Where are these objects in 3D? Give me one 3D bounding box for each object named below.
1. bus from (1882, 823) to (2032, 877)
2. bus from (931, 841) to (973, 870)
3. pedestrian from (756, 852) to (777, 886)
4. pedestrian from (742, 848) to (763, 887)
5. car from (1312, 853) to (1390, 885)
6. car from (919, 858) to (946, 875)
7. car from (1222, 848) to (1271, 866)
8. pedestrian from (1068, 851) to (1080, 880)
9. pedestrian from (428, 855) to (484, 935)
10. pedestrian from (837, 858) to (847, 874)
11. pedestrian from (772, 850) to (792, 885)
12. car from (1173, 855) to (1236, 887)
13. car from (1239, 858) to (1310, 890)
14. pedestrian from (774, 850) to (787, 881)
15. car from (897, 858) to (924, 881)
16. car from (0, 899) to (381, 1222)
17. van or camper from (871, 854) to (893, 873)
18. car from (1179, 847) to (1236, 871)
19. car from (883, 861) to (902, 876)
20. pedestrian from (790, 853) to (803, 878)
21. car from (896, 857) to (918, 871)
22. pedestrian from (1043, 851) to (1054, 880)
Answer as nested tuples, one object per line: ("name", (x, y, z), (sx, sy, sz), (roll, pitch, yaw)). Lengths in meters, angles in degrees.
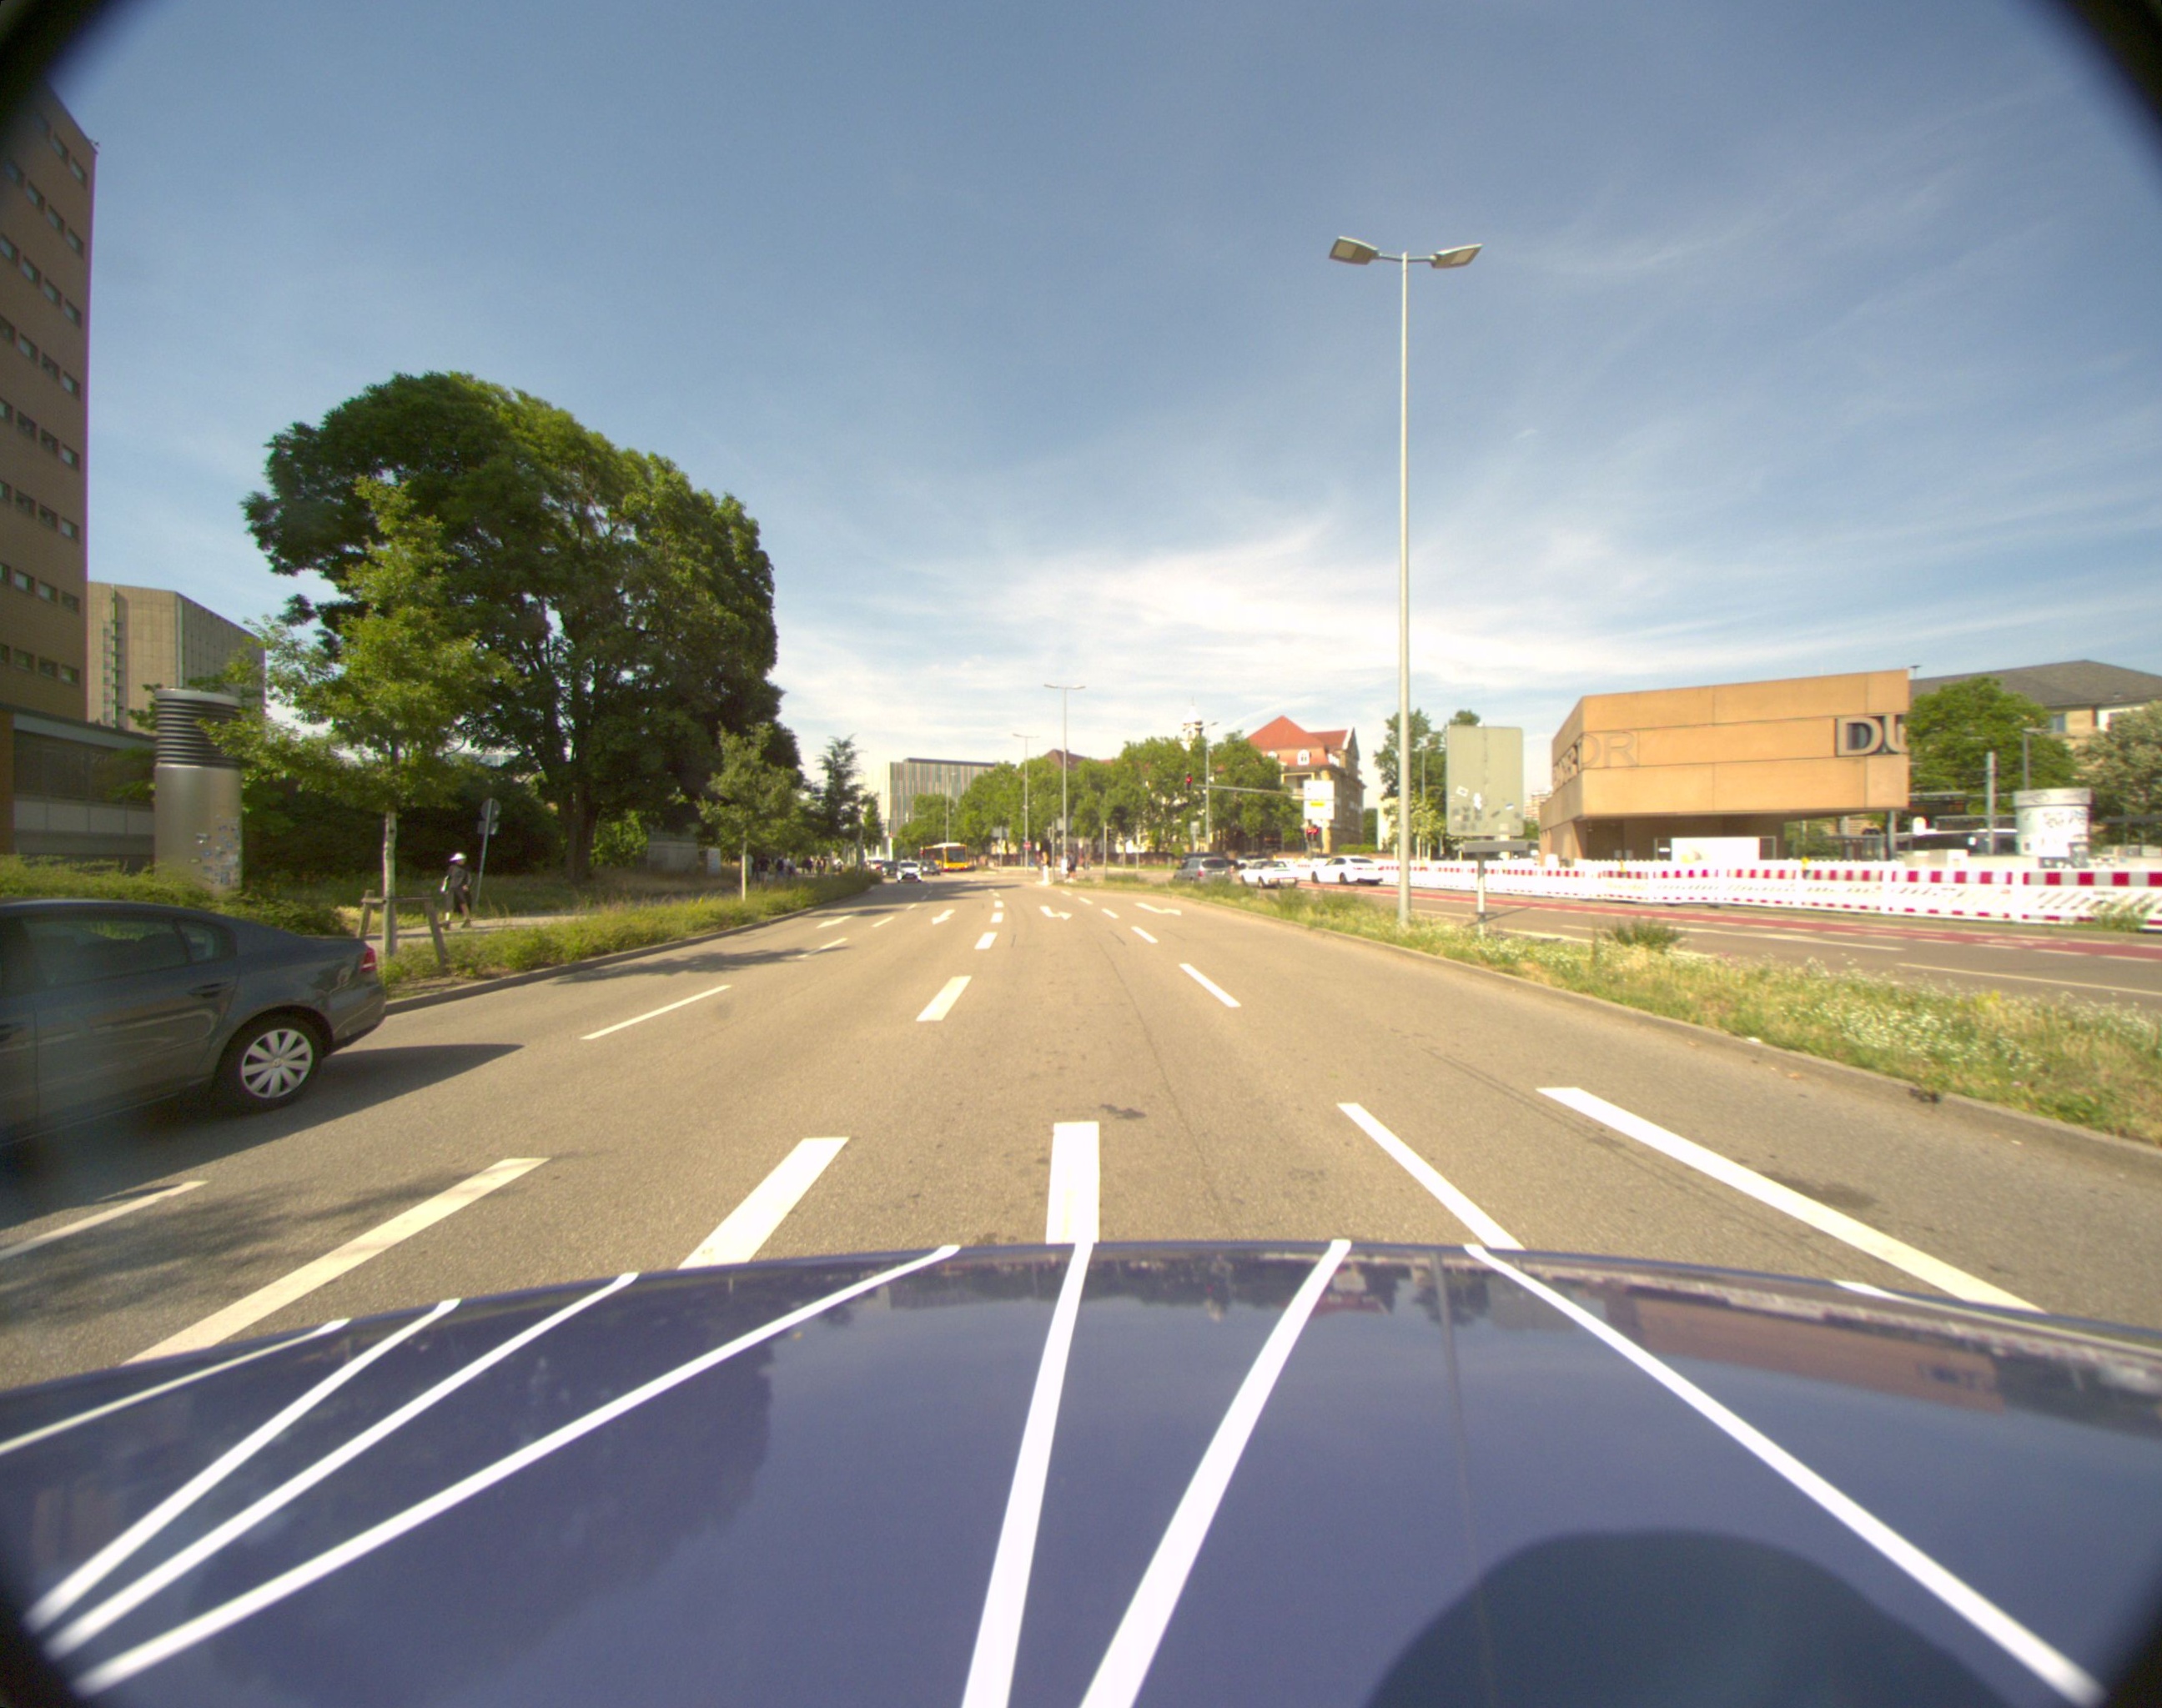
("bus", (59.533, -0.225, 52.142), (2.751, 3.303, 11.811), (0, 0, 28))
("bus", (-14.722, 0.193, 85.668), (2.799, 3.020, 12.129), (0, 0, -19))
("pedestrian", (-14.895, 0.701, 35.986), (0.643, 1.617, 0.731), (1, 1, 1))
("pedestrian", (-15.551, 0.623, 36.001), (0.643, 1.827, 0.731), (1, 1, 1))
("car", (13.101, 0.693, 37.125), (1.804, 1.412, 3.996), (-2, 1, -10))
("car", (-14.018, 1.144, 71.570), (1.653, 1.416, 4.112), (-3, 1, -22))
("car", (15.003, 0.280, 68.932), (4.117, 1.435, 1.756), (-3, 1, -24))
("pedestrian", (-0.400, 0.647, 44.286), (0.643, 1.664, 0.752), (0, 0, 0))
("pedestrian", (-13.341, 0.863, 16.238), (0.592, 1.654, 0.731), (1, 1, 1))
("pedestrian", (-16.756, 0.822, 53.262), (0.644, 1.125, 0.751), (1, 1, -15))
("pedestrian", (-14.367, 0.643, 36.491), (0.643, 1.664, 0.752), (1, 1, 1))
("car", (5.644, 0.743, 35.241), (1.600, 1.279, 3.996), (-2, 1, -10))
("car", (8.780, 0.892, 34.873), (1.600, 1.279, 3.996), (-2, 1, -10))
("pedestrian", (-17.198, 0.684, 43.474), (0.644, 1.754, 0.474), (1, 1, -20))
("car", (-11.939, 1.064, 53.222), (1.683, 1.466, 3.755), (-2, 1, -14))
("car", (-6.077, 1.095, 3.425), (1.635, 1.427, 4.528), (-1, 1, -1))
("van or camper", (-21.119, 0.957, 80.557), (1.732, 1.877, 4.914), (-3, 1, -20))
("car", (10.153, 0.394, 60.968), (4.115, 1.719, 1.757), (-2, 1, -14))
("car", (-16.716, 1.240, 67.237), (1.411, 1.287, 3.575), (0, 0, -18))
("pedestrian", (-16.390, 0.661, 43.799), (0.644, 1.438, 0.568), (1, 1, -20))
("car", (-18.930, 1.104, 82.432), (1.653, 1.416, 4.112), (-3, 1, -22))
("pedestrian", (-1.872, 0.657, 43.799), (0.541, 1.664, 0.752), (0, 0, 1))
